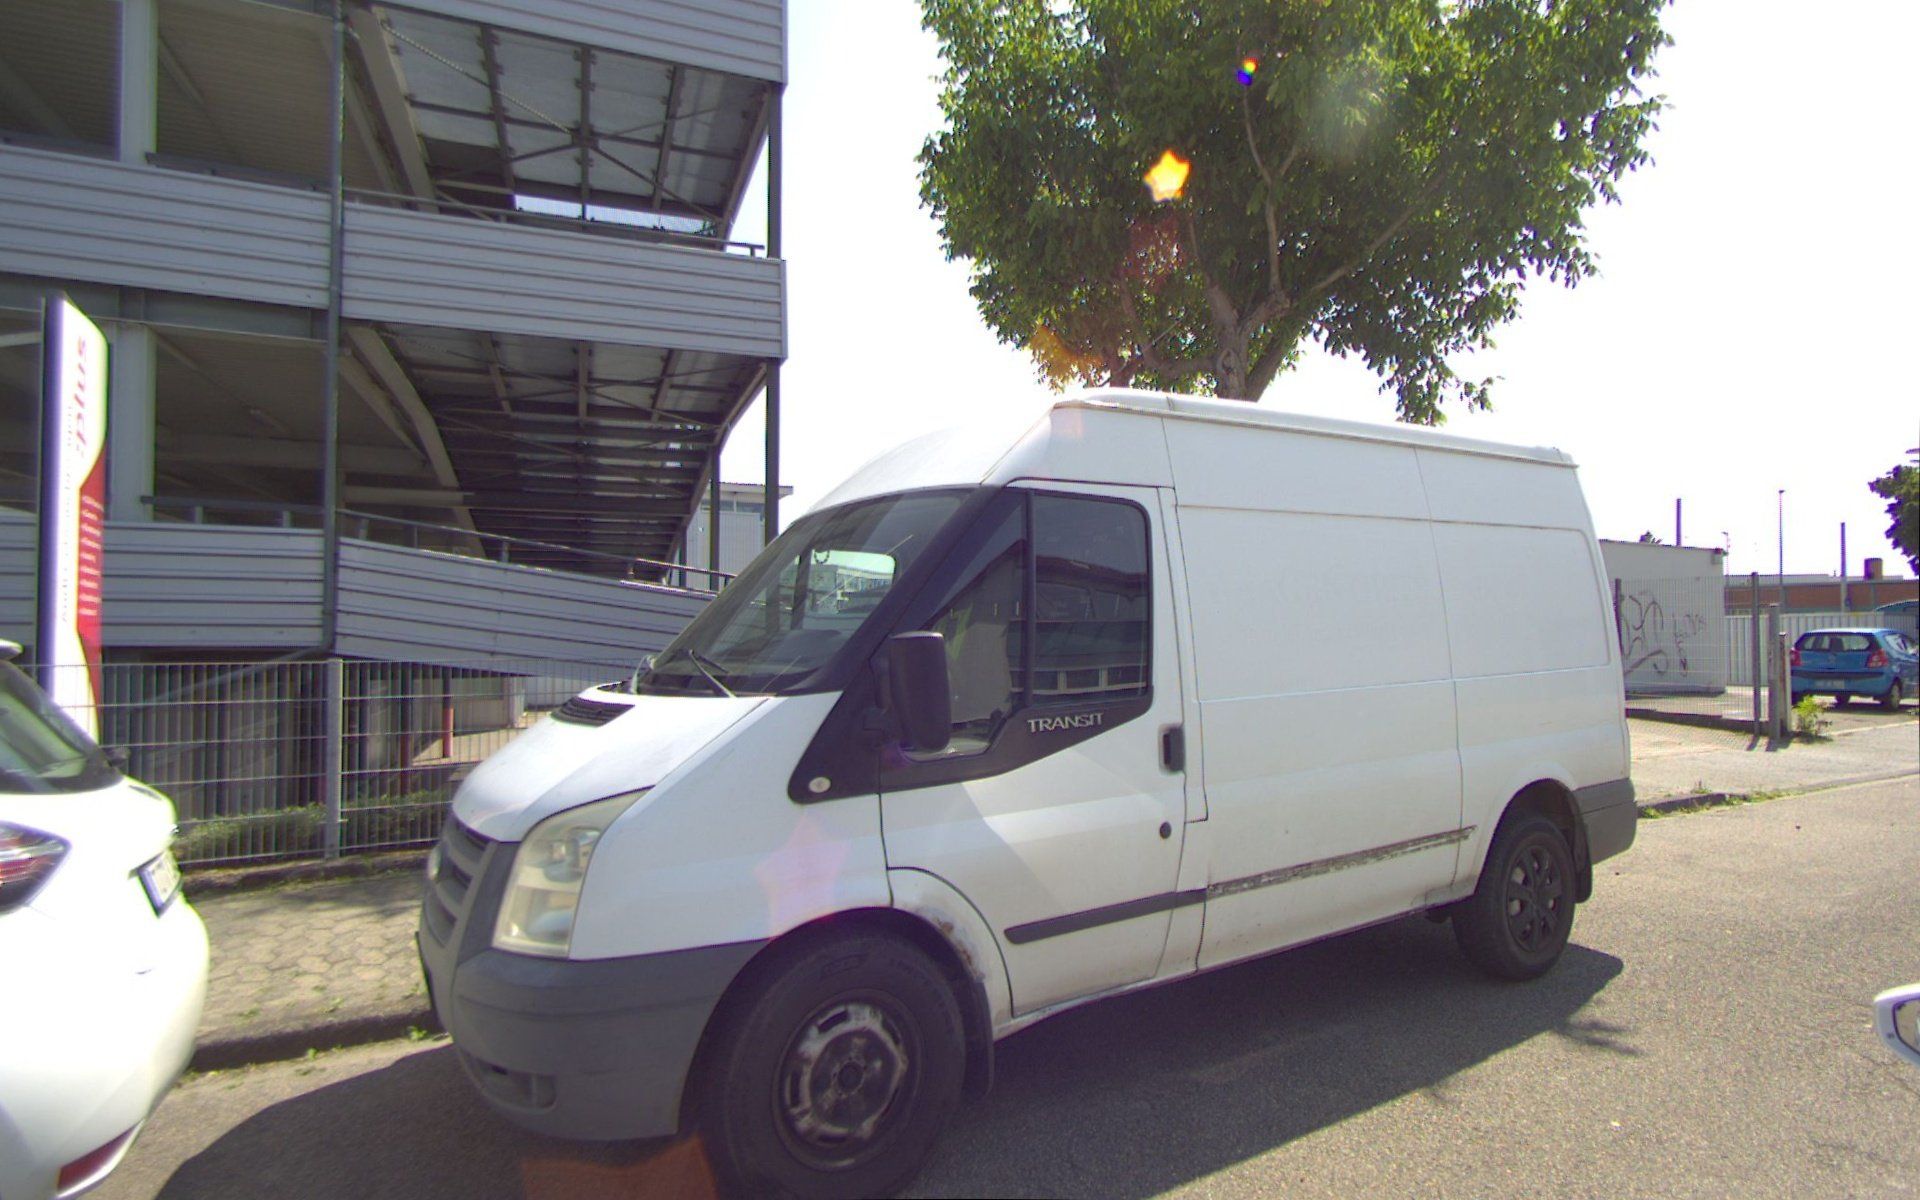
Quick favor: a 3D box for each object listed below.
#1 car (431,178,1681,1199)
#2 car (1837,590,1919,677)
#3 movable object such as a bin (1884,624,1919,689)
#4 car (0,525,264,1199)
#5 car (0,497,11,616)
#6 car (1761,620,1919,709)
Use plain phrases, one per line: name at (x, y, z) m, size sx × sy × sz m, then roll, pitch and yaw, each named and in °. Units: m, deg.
car at (0.725, 0.406, 4.317) m, size 5.171 × 2.397 × 1.995 m, roll 1°, pitch -3°, yaw -32°
car at (29.103, 1.003, 29.980) m, size 1.757 × 2.546 × 4.065 m, roll 1°, pitch -2°, yaw -31°
movable object such as a bin at (24.372, 1.345, 23.920) m, size 2.690 × 1.530 × 2.620 m, roll 1°, pitch -2°, yaw -24°
car at (-3.646, 0.684, 1.728) m, size 3.932 × 1.645 × 1.695 m, roll 2°, pitch -4°, yaw -34°
car at (-15.746, -0.748, 13.686) m, size 3.920 × 1.693 × 1.819 m, roll 3°, pitch -2°, yaw 4°
car at (17.256, 1.192, 19.272) m, size 3.634 × 1.550 × 1.805 m, roll 1°, pitch -3°, yaw -32°
